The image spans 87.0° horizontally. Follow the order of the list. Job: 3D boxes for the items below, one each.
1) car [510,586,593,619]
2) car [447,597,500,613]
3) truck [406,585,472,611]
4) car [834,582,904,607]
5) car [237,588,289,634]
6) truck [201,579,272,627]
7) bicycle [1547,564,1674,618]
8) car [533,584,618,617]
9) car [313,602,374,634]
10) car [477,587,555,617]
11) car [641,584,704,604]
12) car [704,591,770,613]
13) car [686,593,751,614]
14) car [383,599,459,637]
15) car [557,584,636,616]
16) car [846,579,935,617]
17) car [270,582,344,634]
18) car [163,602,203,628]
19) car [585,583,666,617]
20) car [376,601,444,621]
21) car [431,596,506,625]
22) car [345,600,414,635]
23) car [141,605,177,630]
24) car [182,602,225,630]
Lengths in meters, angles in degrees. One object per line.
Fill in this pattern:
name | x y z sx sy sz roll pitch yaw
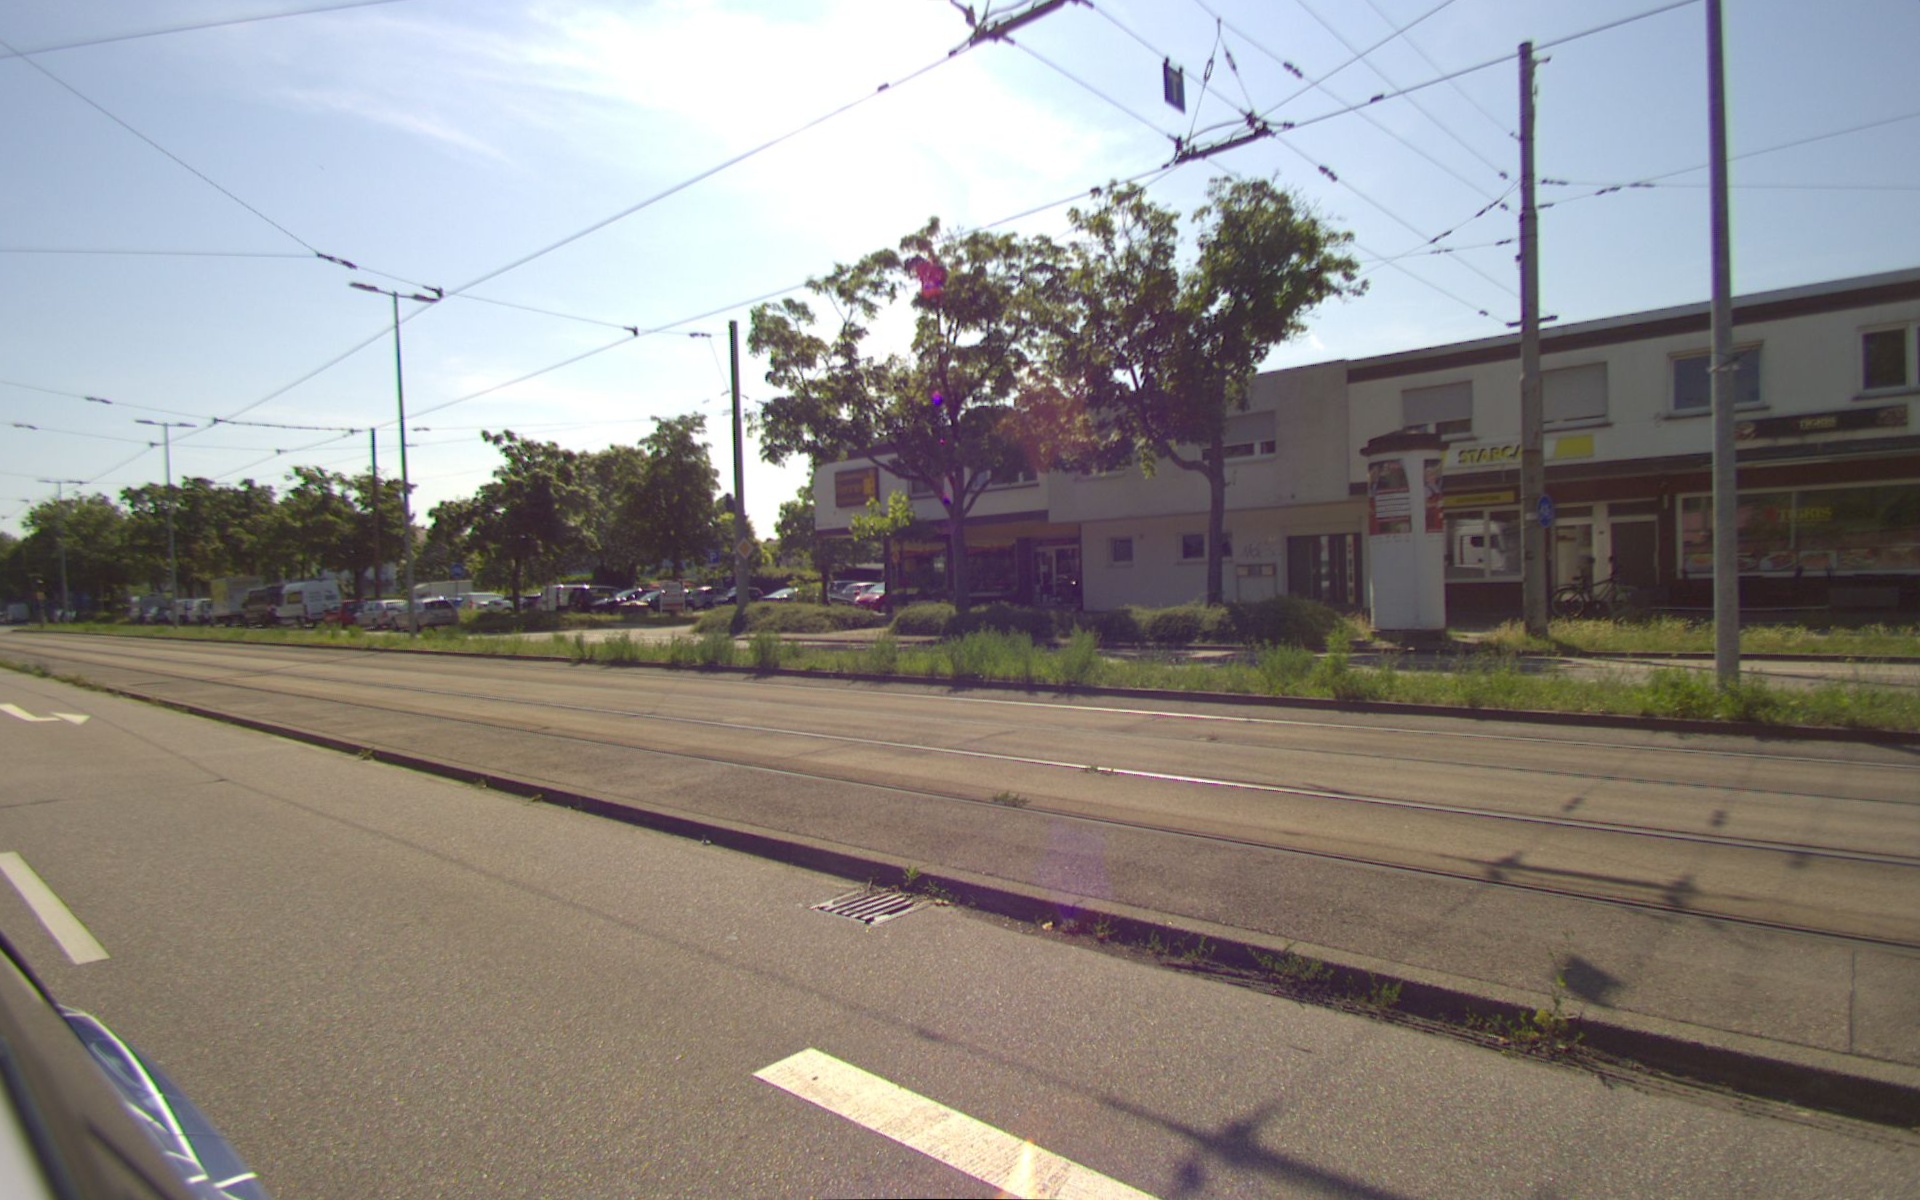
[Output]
car | -24.037 0.137 59.670 1.988 1.751 4.068 -1 1 38
car | -45.990 0.440 95.685 1.676 1.345 4.198 -1 1 41
truck | -52.967 -0.239 103.026 1.988 2.398 5.584 -1 1 38
car | -5.523 -0.352 61.744 1.676 1.345 4.197 -1 1 42
car | -42.421 0.686 61.545 4.005 2.643 1.483 -1 4 41
truck | -48.302 0.221 67.541 5.902 2.956 2.476 -1 4 42
bicycle | 14.690 -0.172 22.898 2.333 1.161 0.779 -1 -1 42
car | -22.062 0.001 58.189 1.988 1.751 4.068 -1 1 38
car | -33.153 0.956 54.371 3.791 1.544 1.654 -1 4 41
car | -28.024 0.117 64.002 1.988 1.751 4.068 -1 1 38
car | -21.162 -0.436 74.620 1.674 1.345 4.201 -1 1 39
car | -15.332 0.120 69.784 1.676 1.345 4.197 -1 1 42
car | -17.040 0.250 71.508 1.676 1.345 4.197 -1 1 42
car | -25.243 0.840 47.340 4.255 1.544 1.654 -1 4 41
car | -20.262 0.001 56.496 1.676 1.646 3.761 -1 1 42
car | -3.244 -0.117 47.988 1.676 1.616 4.197 -1 1 42
car | -37.251 0.479 57.654 5.201 2.673 2.036 -1 4 41
car | -59.754 1.142 77.820 4.056 1.859 1.484 -1 4 40
car | -17.965 -0.011 54.434 1.676 1.646 3.761 -1 1 42
car | -42.067 0.822 77.436 1.676 1.345 4.198 -1 1 41
car | -33.298 0.715 68.421 5.739 1.825 2.560 -1 1 42
car | -29.306 0.869 51.031 4.255 1.544 1.654 -1 4 41
car | -64.407 1.398 81.365 3.685 1.799 1.484 -1 4 40
car | -54.709 1.163 73.148 4.631 1.817 1.483 -1 4 41
